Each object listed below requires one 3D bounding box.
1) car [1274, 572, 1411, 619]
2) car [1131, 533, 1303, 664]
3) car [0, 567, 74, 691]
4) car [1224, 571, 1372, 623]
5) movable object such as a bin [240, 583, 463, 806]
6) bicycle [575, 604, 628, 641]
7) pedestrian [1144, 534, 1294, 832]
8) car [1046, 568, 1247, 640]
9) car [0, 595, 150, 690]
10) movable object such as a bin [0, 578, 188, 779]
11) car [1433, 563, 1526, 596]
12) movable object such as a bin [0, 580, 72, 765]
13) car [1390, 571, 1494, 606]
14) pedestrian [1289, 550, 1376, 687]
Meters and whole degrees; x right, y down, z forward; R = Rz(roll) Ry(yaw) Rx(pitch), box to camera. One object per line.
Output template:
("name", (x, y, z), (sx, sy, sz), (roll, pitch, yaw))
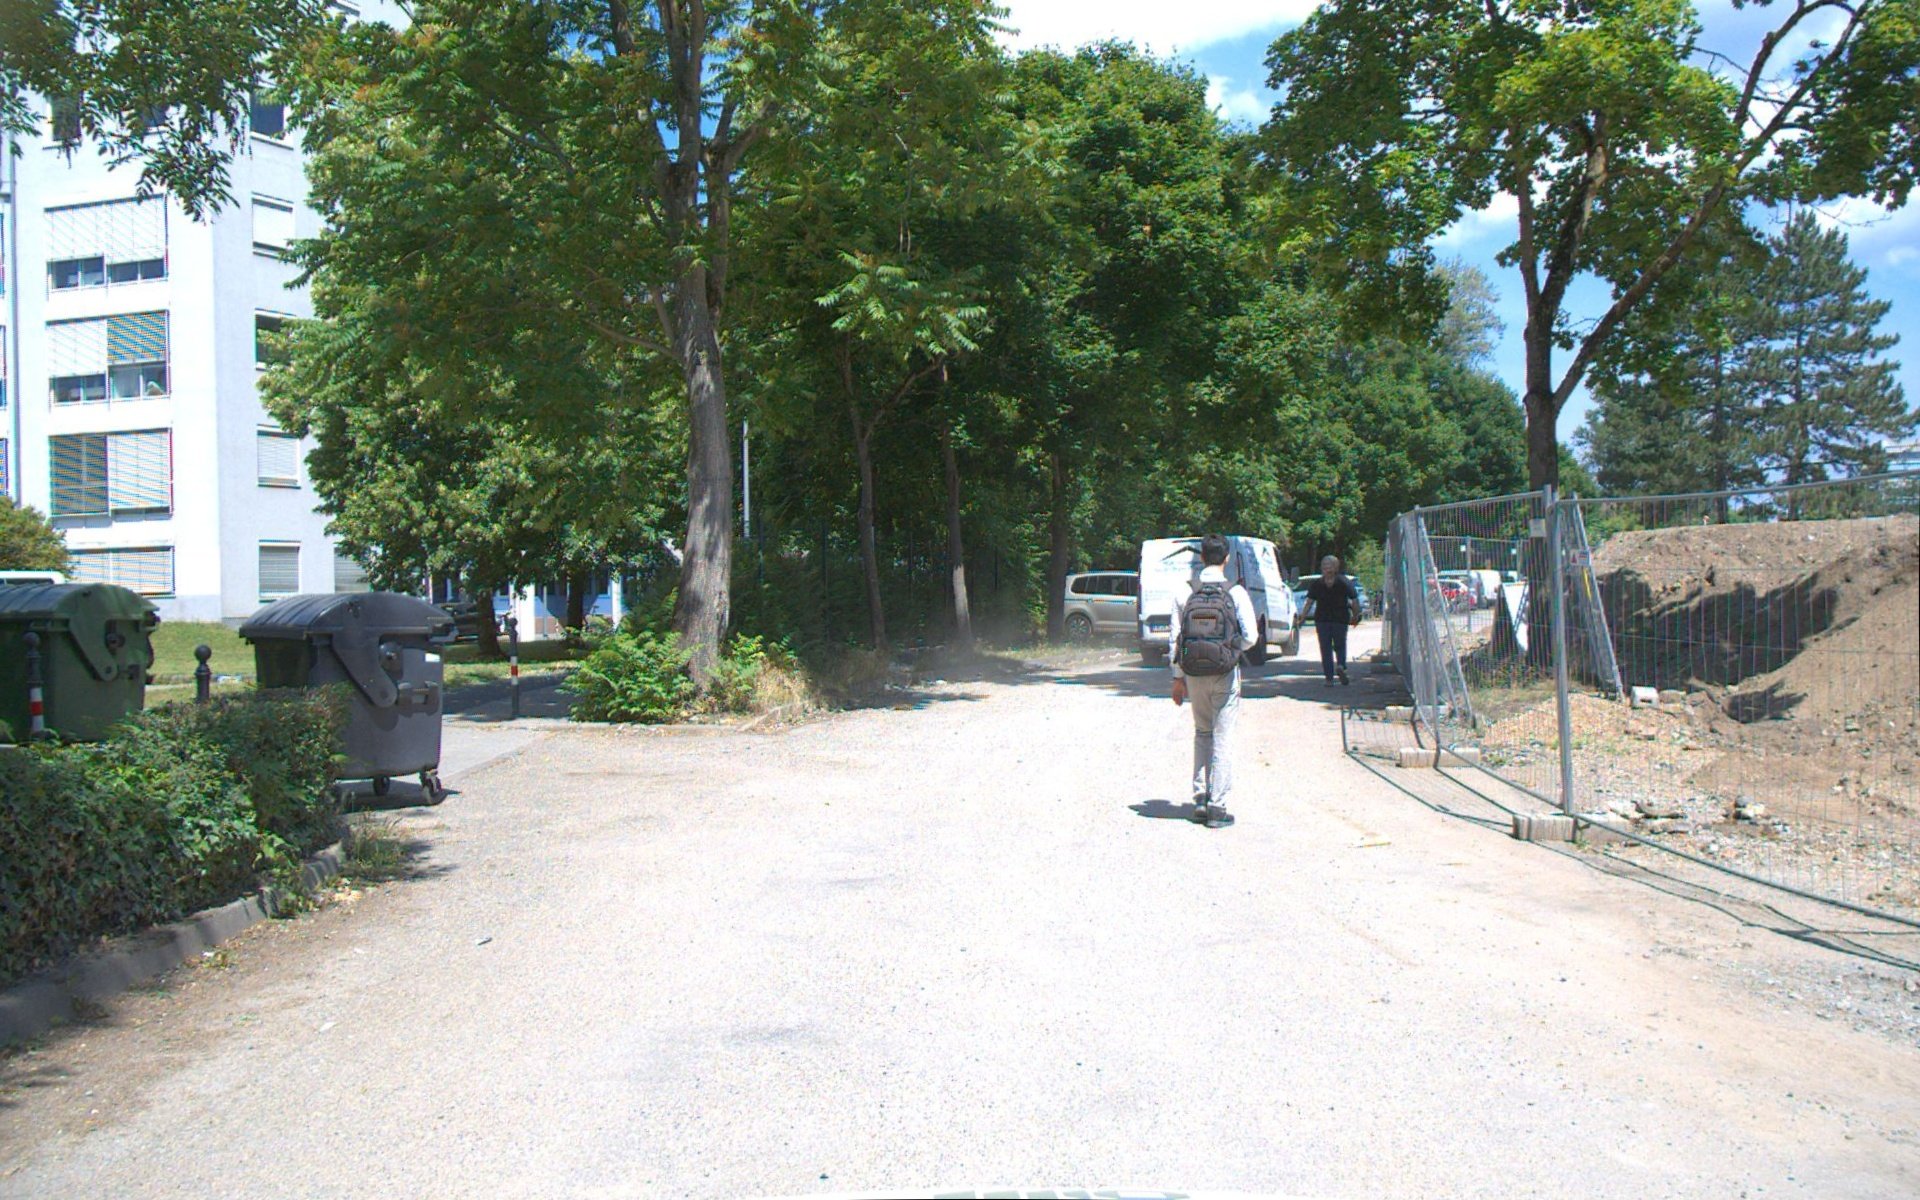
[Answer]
("car", (13.572, -0.153, 58.704), (4.417, 1.625, 1.935), (0, 1, 26))
("car", (4.351, -0.052, 27.388), (1.932, 1.981, 4.582), (-1, 1, 20))
("car", (-17.261, 0.519, 26.897), (1.954, 2.049, 4.771), (-1, 0, 26))
("car", (10.930, -0.095, 53.553), (4.416, 1.625, 1.724), (0, 1, 26))
("movable object such as a bin", (-4.219, 0.605, 11.460), (1.106, 1.418, 1.143), (-2, 1, -41))
("bicycle", (-11.299, 0.698, 52.143), (0.587, 1.103, 1.939), (-1, 1, 24))
("pedestrian", (1.588, 0.482, 10.308), (0.855, 1.759, 1.081), (-1, 1, 6))
("car", (4.502, 0.124, 39.865), (4.417, 1.637, 1.998), (0, -2, 27))
("car", (-14.857, 0.642, 24.955), (1.791, 1.376, 4.623), (0, 1, 26))
("movable object such as a bin", (-7.206, 0.594, 13.330), (1.294, 1.505, 1.208), (-1, 1, 23))
("car", (26.946, -1.049, 85.772), (4.416, 1.625, 1.724), (-1, 1, 26))
("movable object such as a bin", (-8.440, 0.602, 13.879), (1.327, 1.505, 1.097), (-1, 1, 16))
("car", (22.415, -0.528, 76.903), (4.416, 1.574, 1.724), (0, 1, 26))
("pedestrian", (4.701, 0.219, 20.966), (1.013, 1.678, 1.050), (-1, 1, 10))
